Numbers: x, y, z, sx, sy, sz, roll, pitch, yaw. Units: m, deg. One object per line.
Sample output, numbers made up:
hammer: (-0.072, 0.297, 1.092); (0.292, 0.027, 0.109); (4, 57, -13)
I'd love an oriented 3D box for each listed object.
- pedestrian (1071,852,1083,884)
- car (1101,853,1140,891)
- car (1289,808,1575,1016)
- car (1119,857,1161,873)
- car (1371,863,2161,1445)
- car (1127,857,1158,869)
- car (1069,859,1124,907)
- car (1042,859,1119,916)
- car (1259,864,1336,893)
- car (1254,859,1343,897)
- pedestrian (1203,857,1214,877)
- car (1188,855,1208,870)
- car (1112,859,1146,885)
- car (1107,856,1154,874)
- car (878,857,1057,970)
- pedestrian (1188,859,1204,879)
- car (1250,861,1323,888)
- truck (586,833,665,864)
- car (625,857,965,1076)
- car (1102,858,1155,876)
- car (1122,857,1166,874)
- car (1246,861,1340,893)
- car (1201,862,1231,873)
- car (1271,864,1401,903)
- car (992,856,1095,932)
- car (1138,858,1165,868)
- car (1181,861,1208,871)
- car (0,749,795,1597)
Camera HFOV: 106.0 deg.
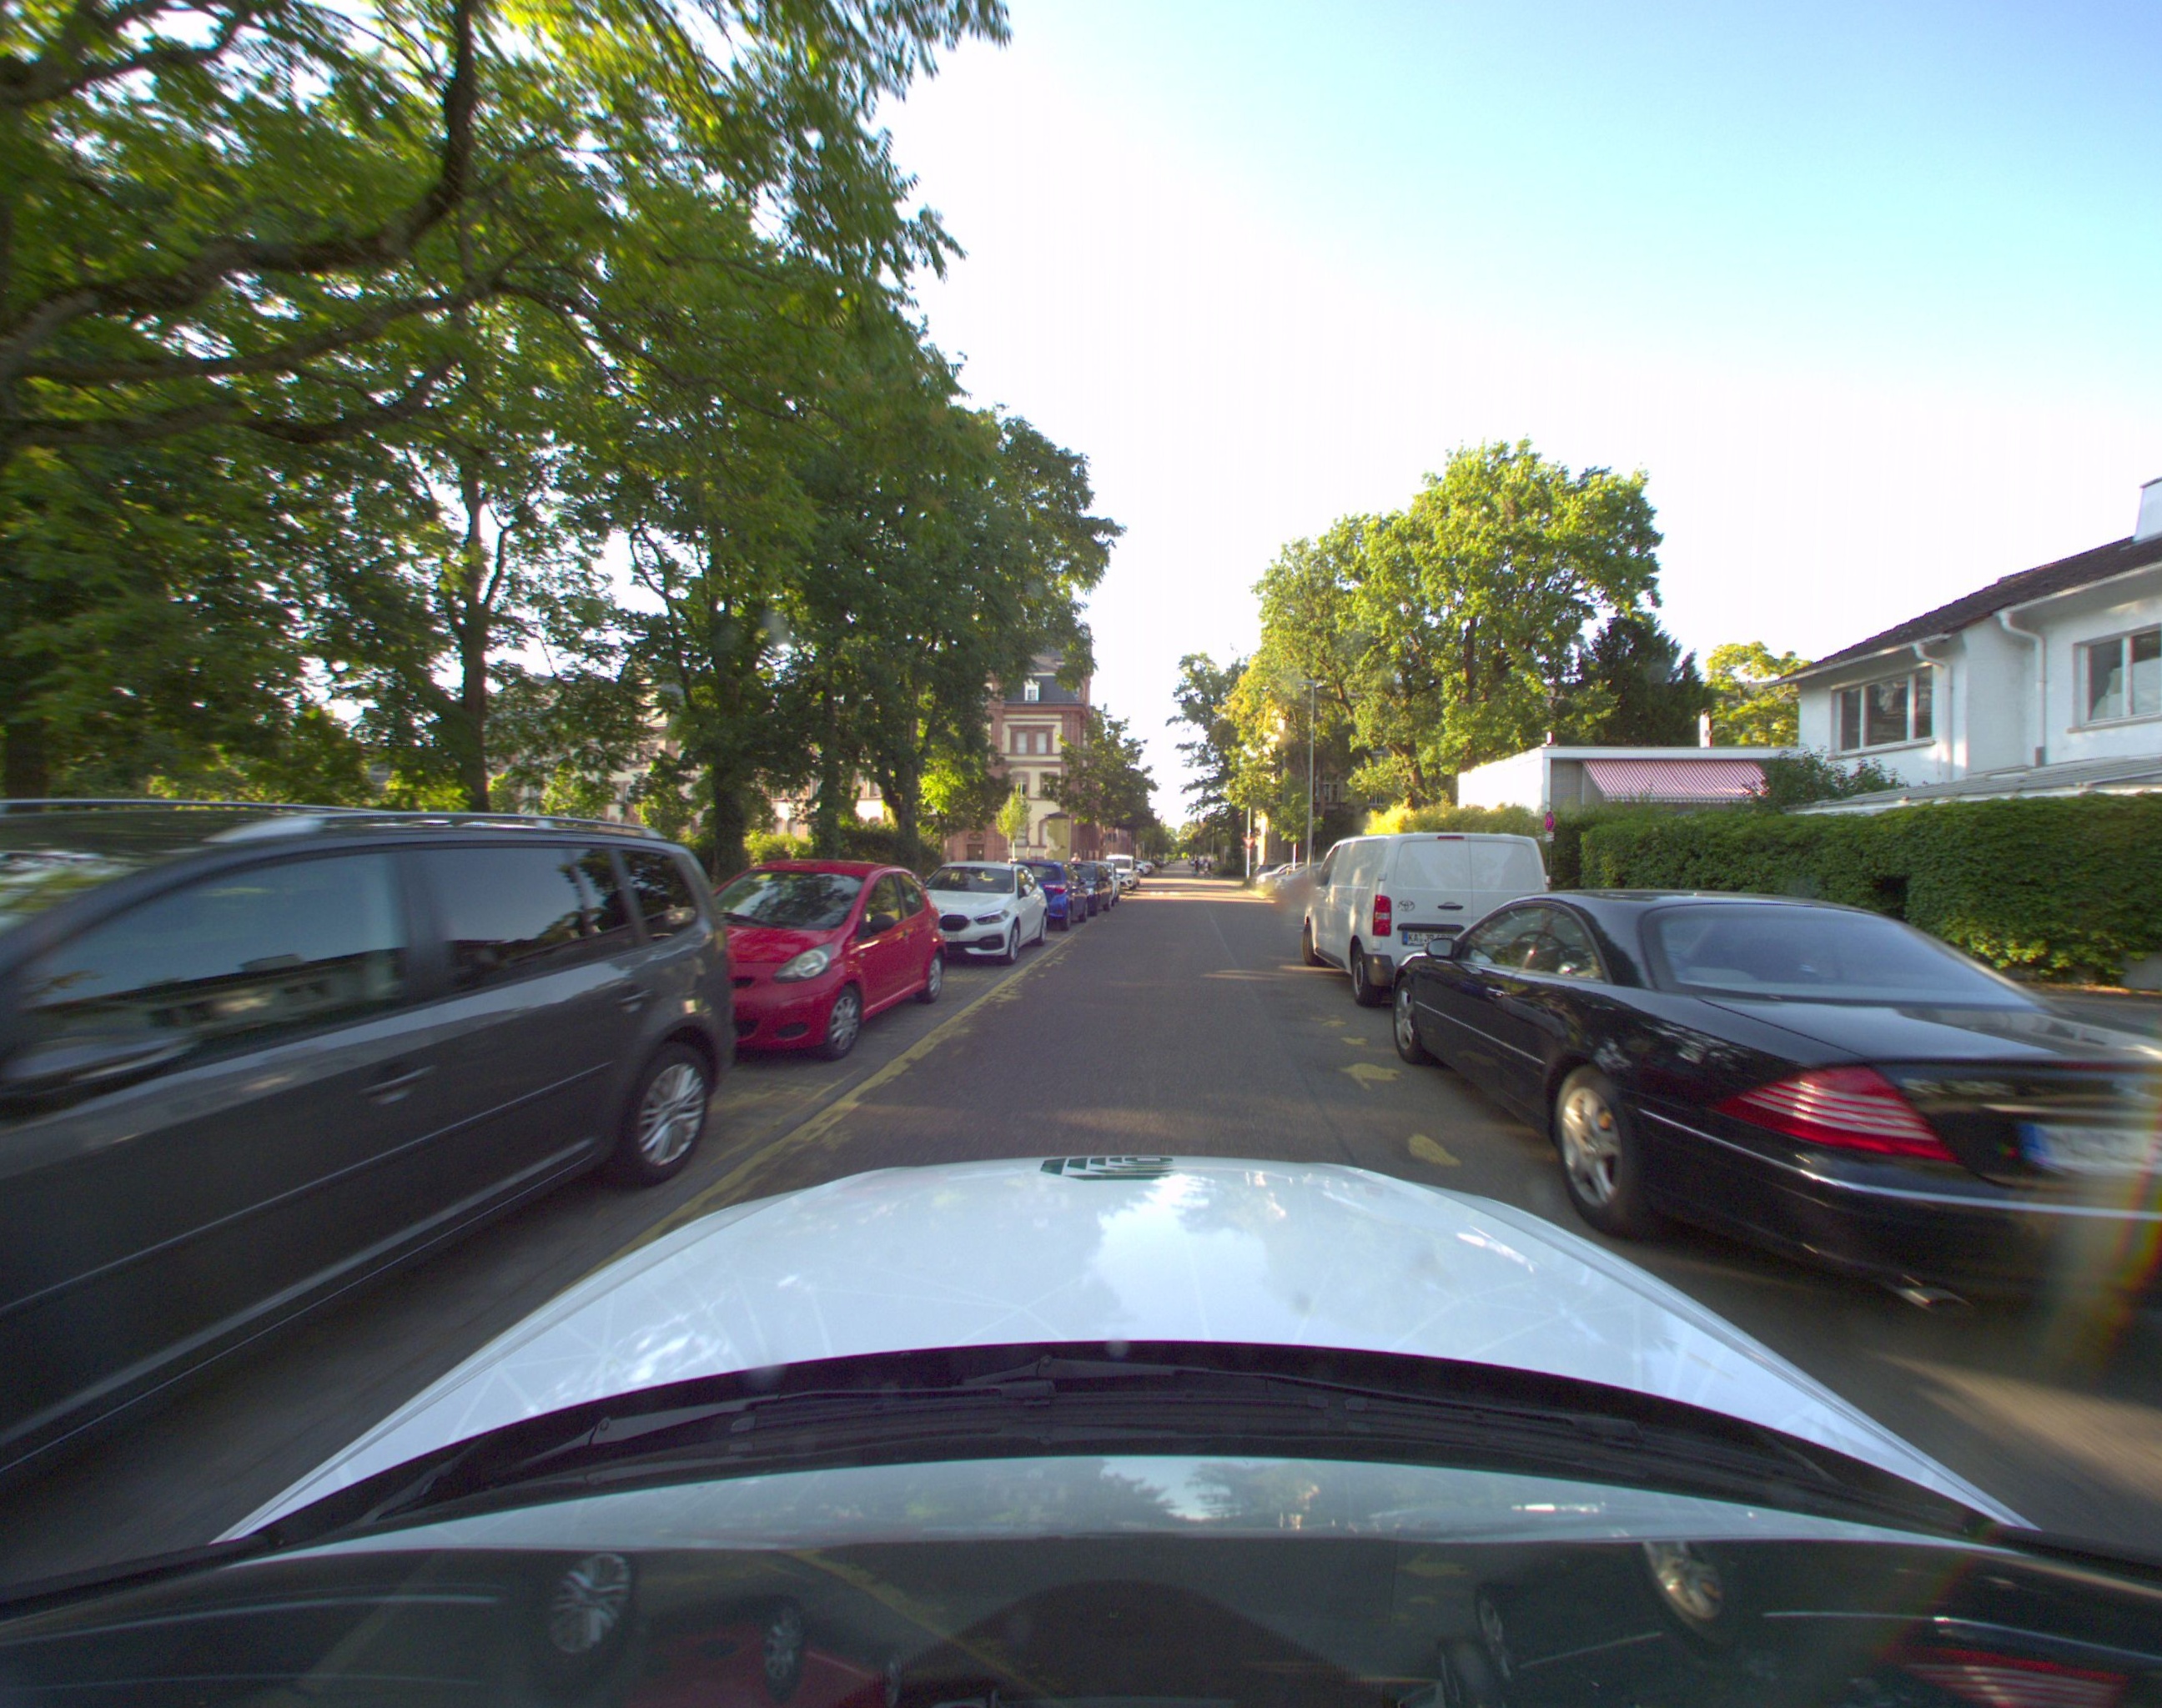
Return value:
pedestrian: (-0.215, 0.807, 47.341); (0.596, 1.784, 0.947); (1, -1, 4)
car: (2.133, 0.893, 42.816); (1.772, 1.841, 4.560); (1, 0, 6)
car: (4.127, 0.575, 10.649); (1.943, 2.014, 5.161); (1, 0, 6)
car: (6.359, 1.175, 88.262); (4.462, 1.608, 1.844); (1, 0, 4)
car: (3.150, 0.819, 4.543); (1.756, 1.468, 4.873); (1, 0, 6)
car: (9.223, 1.350, 121.926); (4.462, 1.608, 1.844); (1, -1, 4)
car: (0.602, 0.967, 28.835); (1.584, 1.526, 3.871); (1, 0, 6)
car: (0.069, 0.910, 23.805); (1.542, 1.494, 3.954); (1, 0, 10)
car: (11.889, 1.328, 44.943); (3.933, 1.516, 1.678); (1, 0, 7)
car: (9.747, 1.057, 36.597); (3.485, 1.584, 1.760); (1, 0, -3)
pedestrian: (10.831, 1.116, 69.345); (0.782, 1.606, 0.720); (1, -2, 1)
car: (28.715, 2.097, 199.862); (4.861, 3.618, 1.845); (1, -1, 6)
car: (3.032, 1.082, 50.962); (1.771, 1.505, 4.562); (1, 0, 7)
car: (4.894, 1.072, 80.288); (4.462, 1.717, 1.844); (1, 0, 4)
car: (-1.584, 0.803, 12.842); (1.681, 1.406, 3.983); (3, 0, 8)
pedestrian: (10.530, 1.370, 74.486); (1.065, 1.858, 0.994); (2, -1, -25)
car: (11.951, 1.223, 47.567); (3.932, 1.517, 1.877); (0, -3, 8)
truck: (-47.553, -0.604, 84.991); (7.914, 3.029, 2.626); (1, -1, 22)
car: (-2.233, 0.776, 7.324); (1.380, 1.423, 3.434); (3, 0, 8)
car: (4.451, 1.176, 75.852); (4.820, 1.594, 1.844); (1, 0, 4)
car: (6.625, 1.224, 85.440); (4.462, 1.608, 1.844); (1, 0, 4)
car: (10.990, 1.192, 42.497); (4.471, 1.549, 1.893); (1, 0, 4)
car: (21.045, 2.063, 127.130); (4.462, 1.608, 1.844); (1, -1, 4)
car: (9.779, 1.135, 31.577); (4.563, 1.415, 1.927); (-1, -2, 8)
car: (-0.761, 0.842, 18.853); (1.629, 1.496, 3.713); (3, 0, 8)
car: (11.870, 1.555, 136.475); (4.462, 1.608, 1.844); (1, -1, 4)
car: (19.896, 2.037, 143.359); (4.561, 1.608, 1.844); (1, -1, 4)
car: (-2.866, 0.596, 2.610); (1.792, 1.675, 4.330); (3, 0, 8)
